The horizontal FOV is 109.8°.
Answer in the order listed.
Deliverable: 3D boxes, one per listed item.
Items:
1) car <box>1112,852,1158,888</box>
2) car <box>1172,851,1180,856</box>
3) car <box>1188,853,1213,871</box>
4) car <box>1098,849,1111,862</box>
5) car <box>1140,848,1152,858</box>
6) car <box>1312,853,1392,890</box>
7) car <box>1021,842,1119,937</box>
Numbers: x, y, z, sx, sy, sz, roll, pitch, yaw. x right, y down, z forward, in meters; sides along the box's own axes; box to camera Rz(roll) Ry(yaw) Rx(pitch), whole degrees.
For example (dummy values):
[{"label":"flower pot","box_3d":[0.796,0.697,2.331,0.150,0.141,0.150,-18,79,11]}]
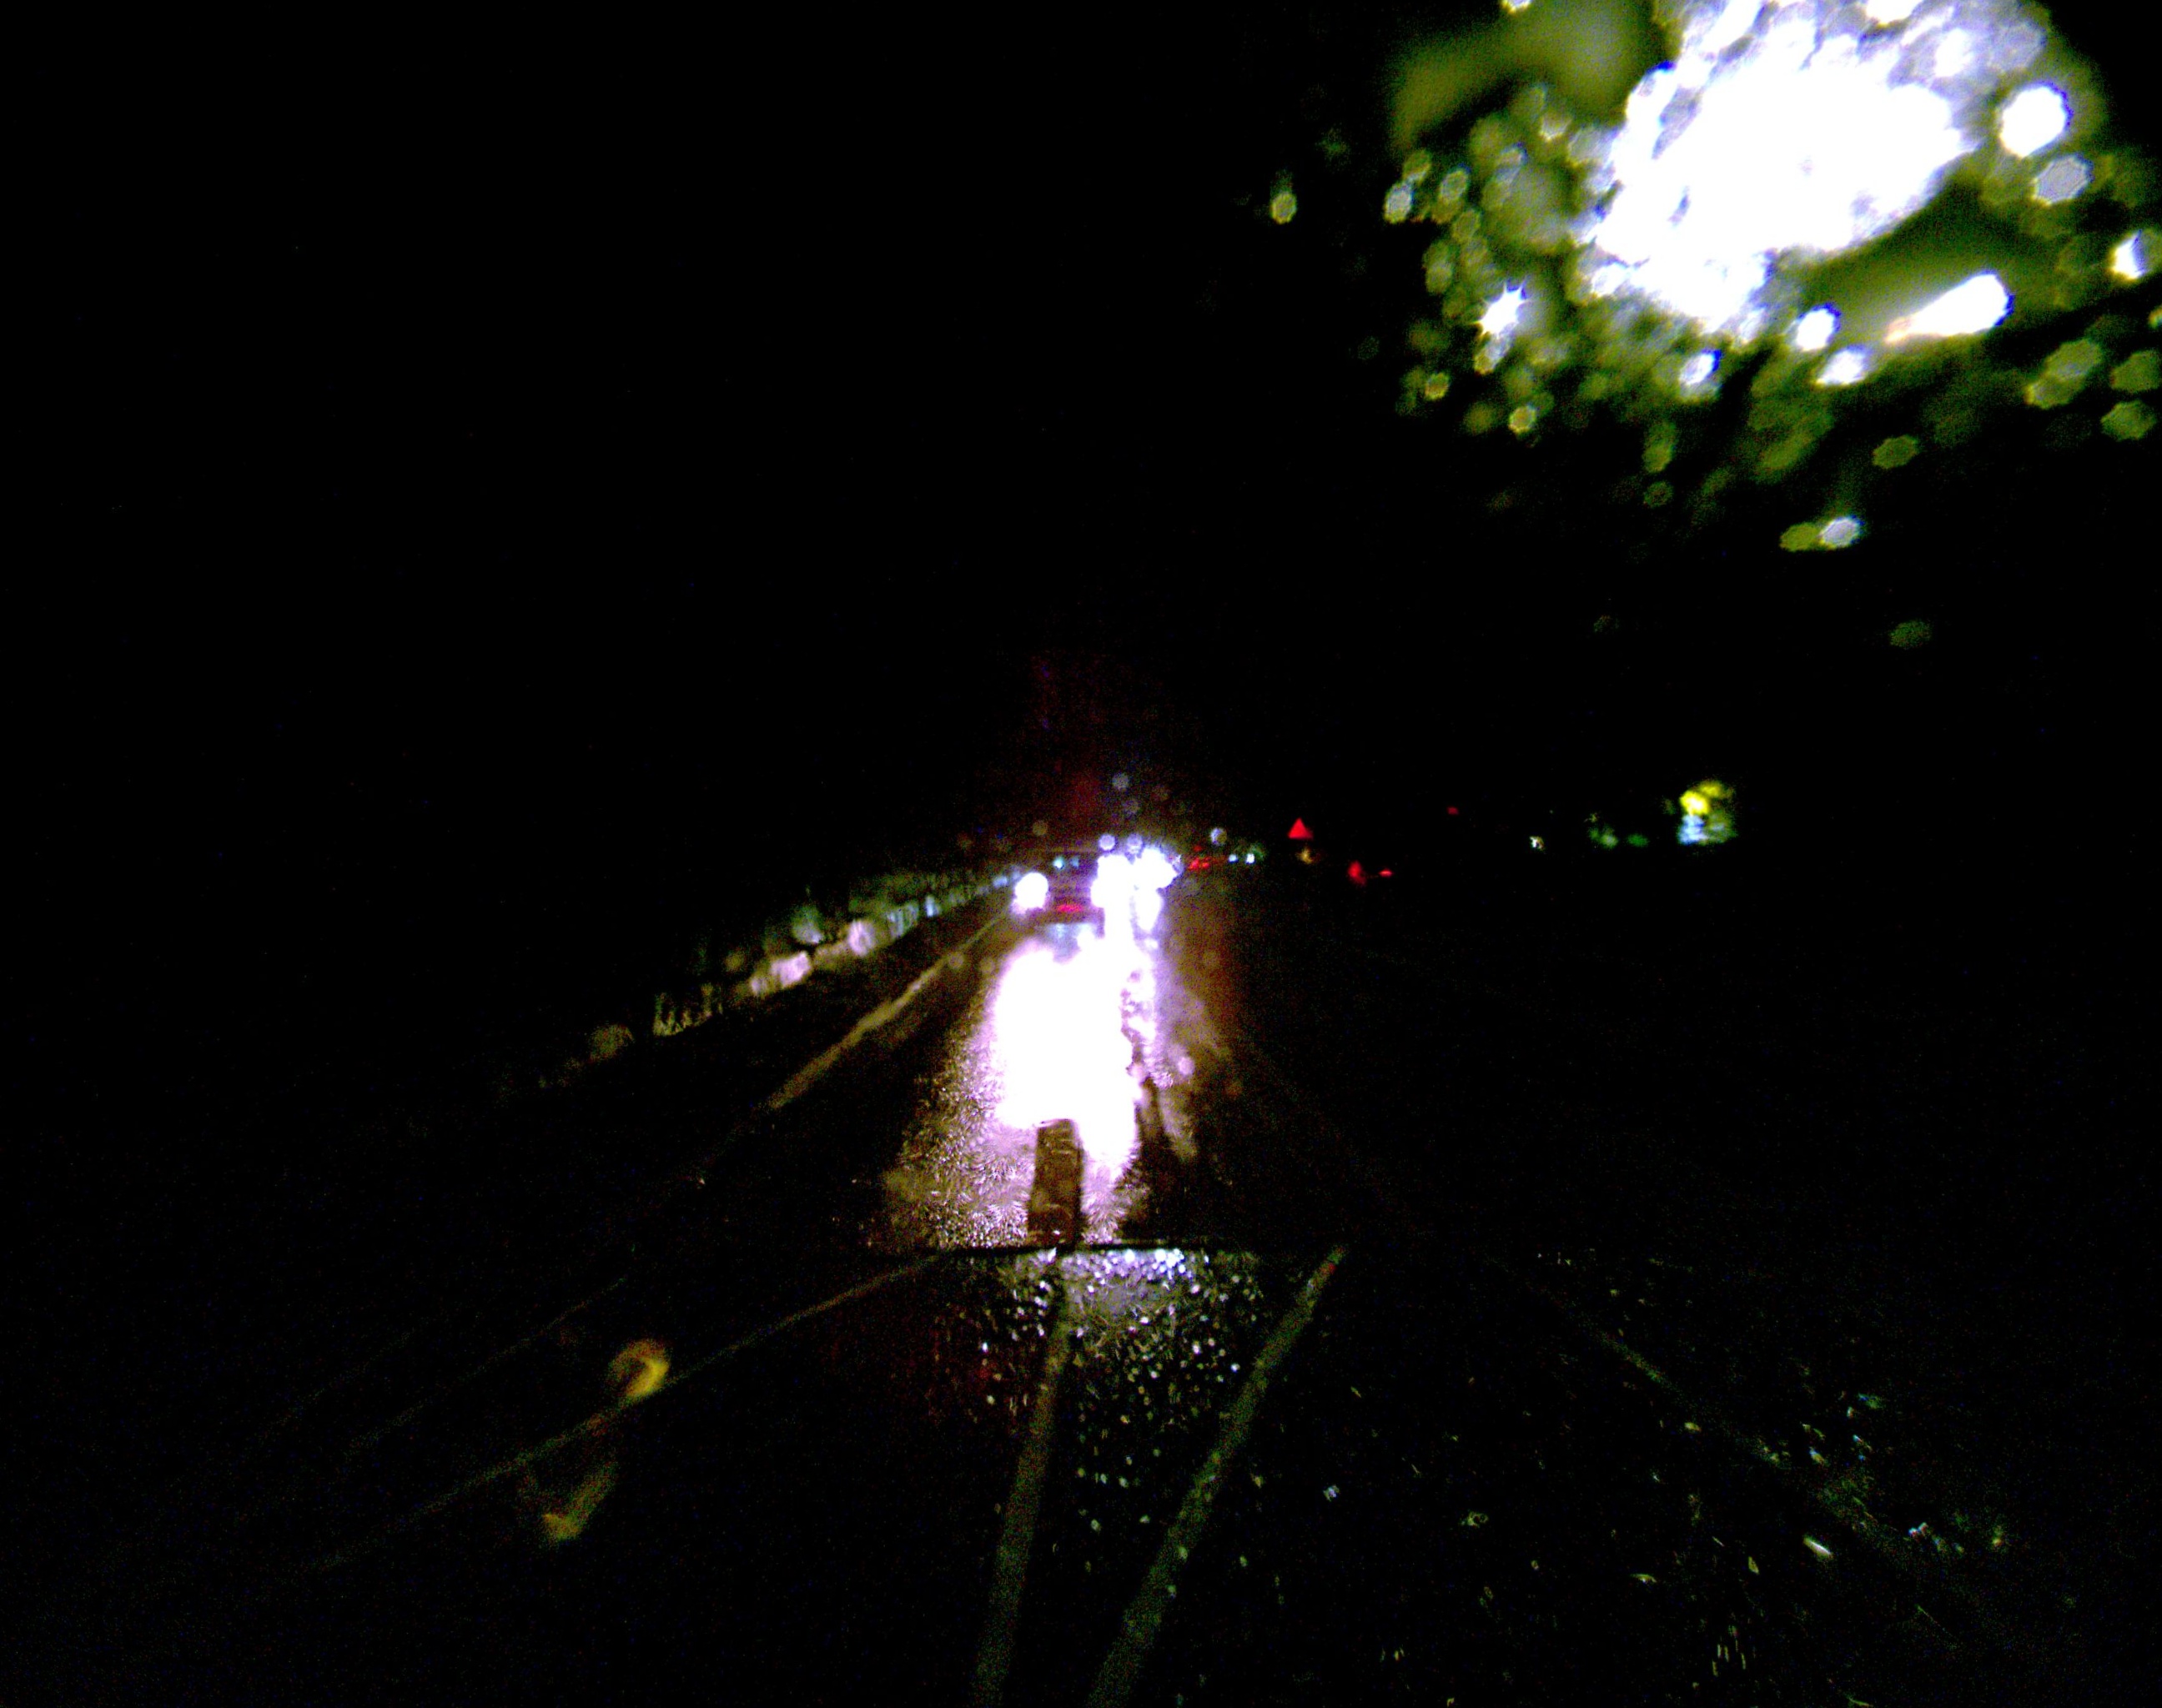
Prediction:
[{"label":"car","box_3d":[2.749,0.765,39.491,1.914,1.694,4.938,-1,0,-1]},{"label":"car","box_3d":[27.950,-0.154,224.421,1.806,1.416,4.209,-1,1,14]},{"label":"car","box_3d":[11.721,0.777,74.755,1.711,1.644,4.506,-1,1,1]},{"label":"car","box_3d":[3.665,0.231,119.684,1.998,2.002,4.000,-1,1,2]},{"label":"car","box_3d":[12.635,-0.187,147.631,2.092,1.691,4.579,-1,1,7]},{"label":"car","box_3d":[12.488,0.756,35.345,1.751,1.495,4.890,-2,1,-3]},{"label":"car","box_3d":[-0.213,0.685,16.951,1.877,1.825,4.205,-1,0,0]}]
